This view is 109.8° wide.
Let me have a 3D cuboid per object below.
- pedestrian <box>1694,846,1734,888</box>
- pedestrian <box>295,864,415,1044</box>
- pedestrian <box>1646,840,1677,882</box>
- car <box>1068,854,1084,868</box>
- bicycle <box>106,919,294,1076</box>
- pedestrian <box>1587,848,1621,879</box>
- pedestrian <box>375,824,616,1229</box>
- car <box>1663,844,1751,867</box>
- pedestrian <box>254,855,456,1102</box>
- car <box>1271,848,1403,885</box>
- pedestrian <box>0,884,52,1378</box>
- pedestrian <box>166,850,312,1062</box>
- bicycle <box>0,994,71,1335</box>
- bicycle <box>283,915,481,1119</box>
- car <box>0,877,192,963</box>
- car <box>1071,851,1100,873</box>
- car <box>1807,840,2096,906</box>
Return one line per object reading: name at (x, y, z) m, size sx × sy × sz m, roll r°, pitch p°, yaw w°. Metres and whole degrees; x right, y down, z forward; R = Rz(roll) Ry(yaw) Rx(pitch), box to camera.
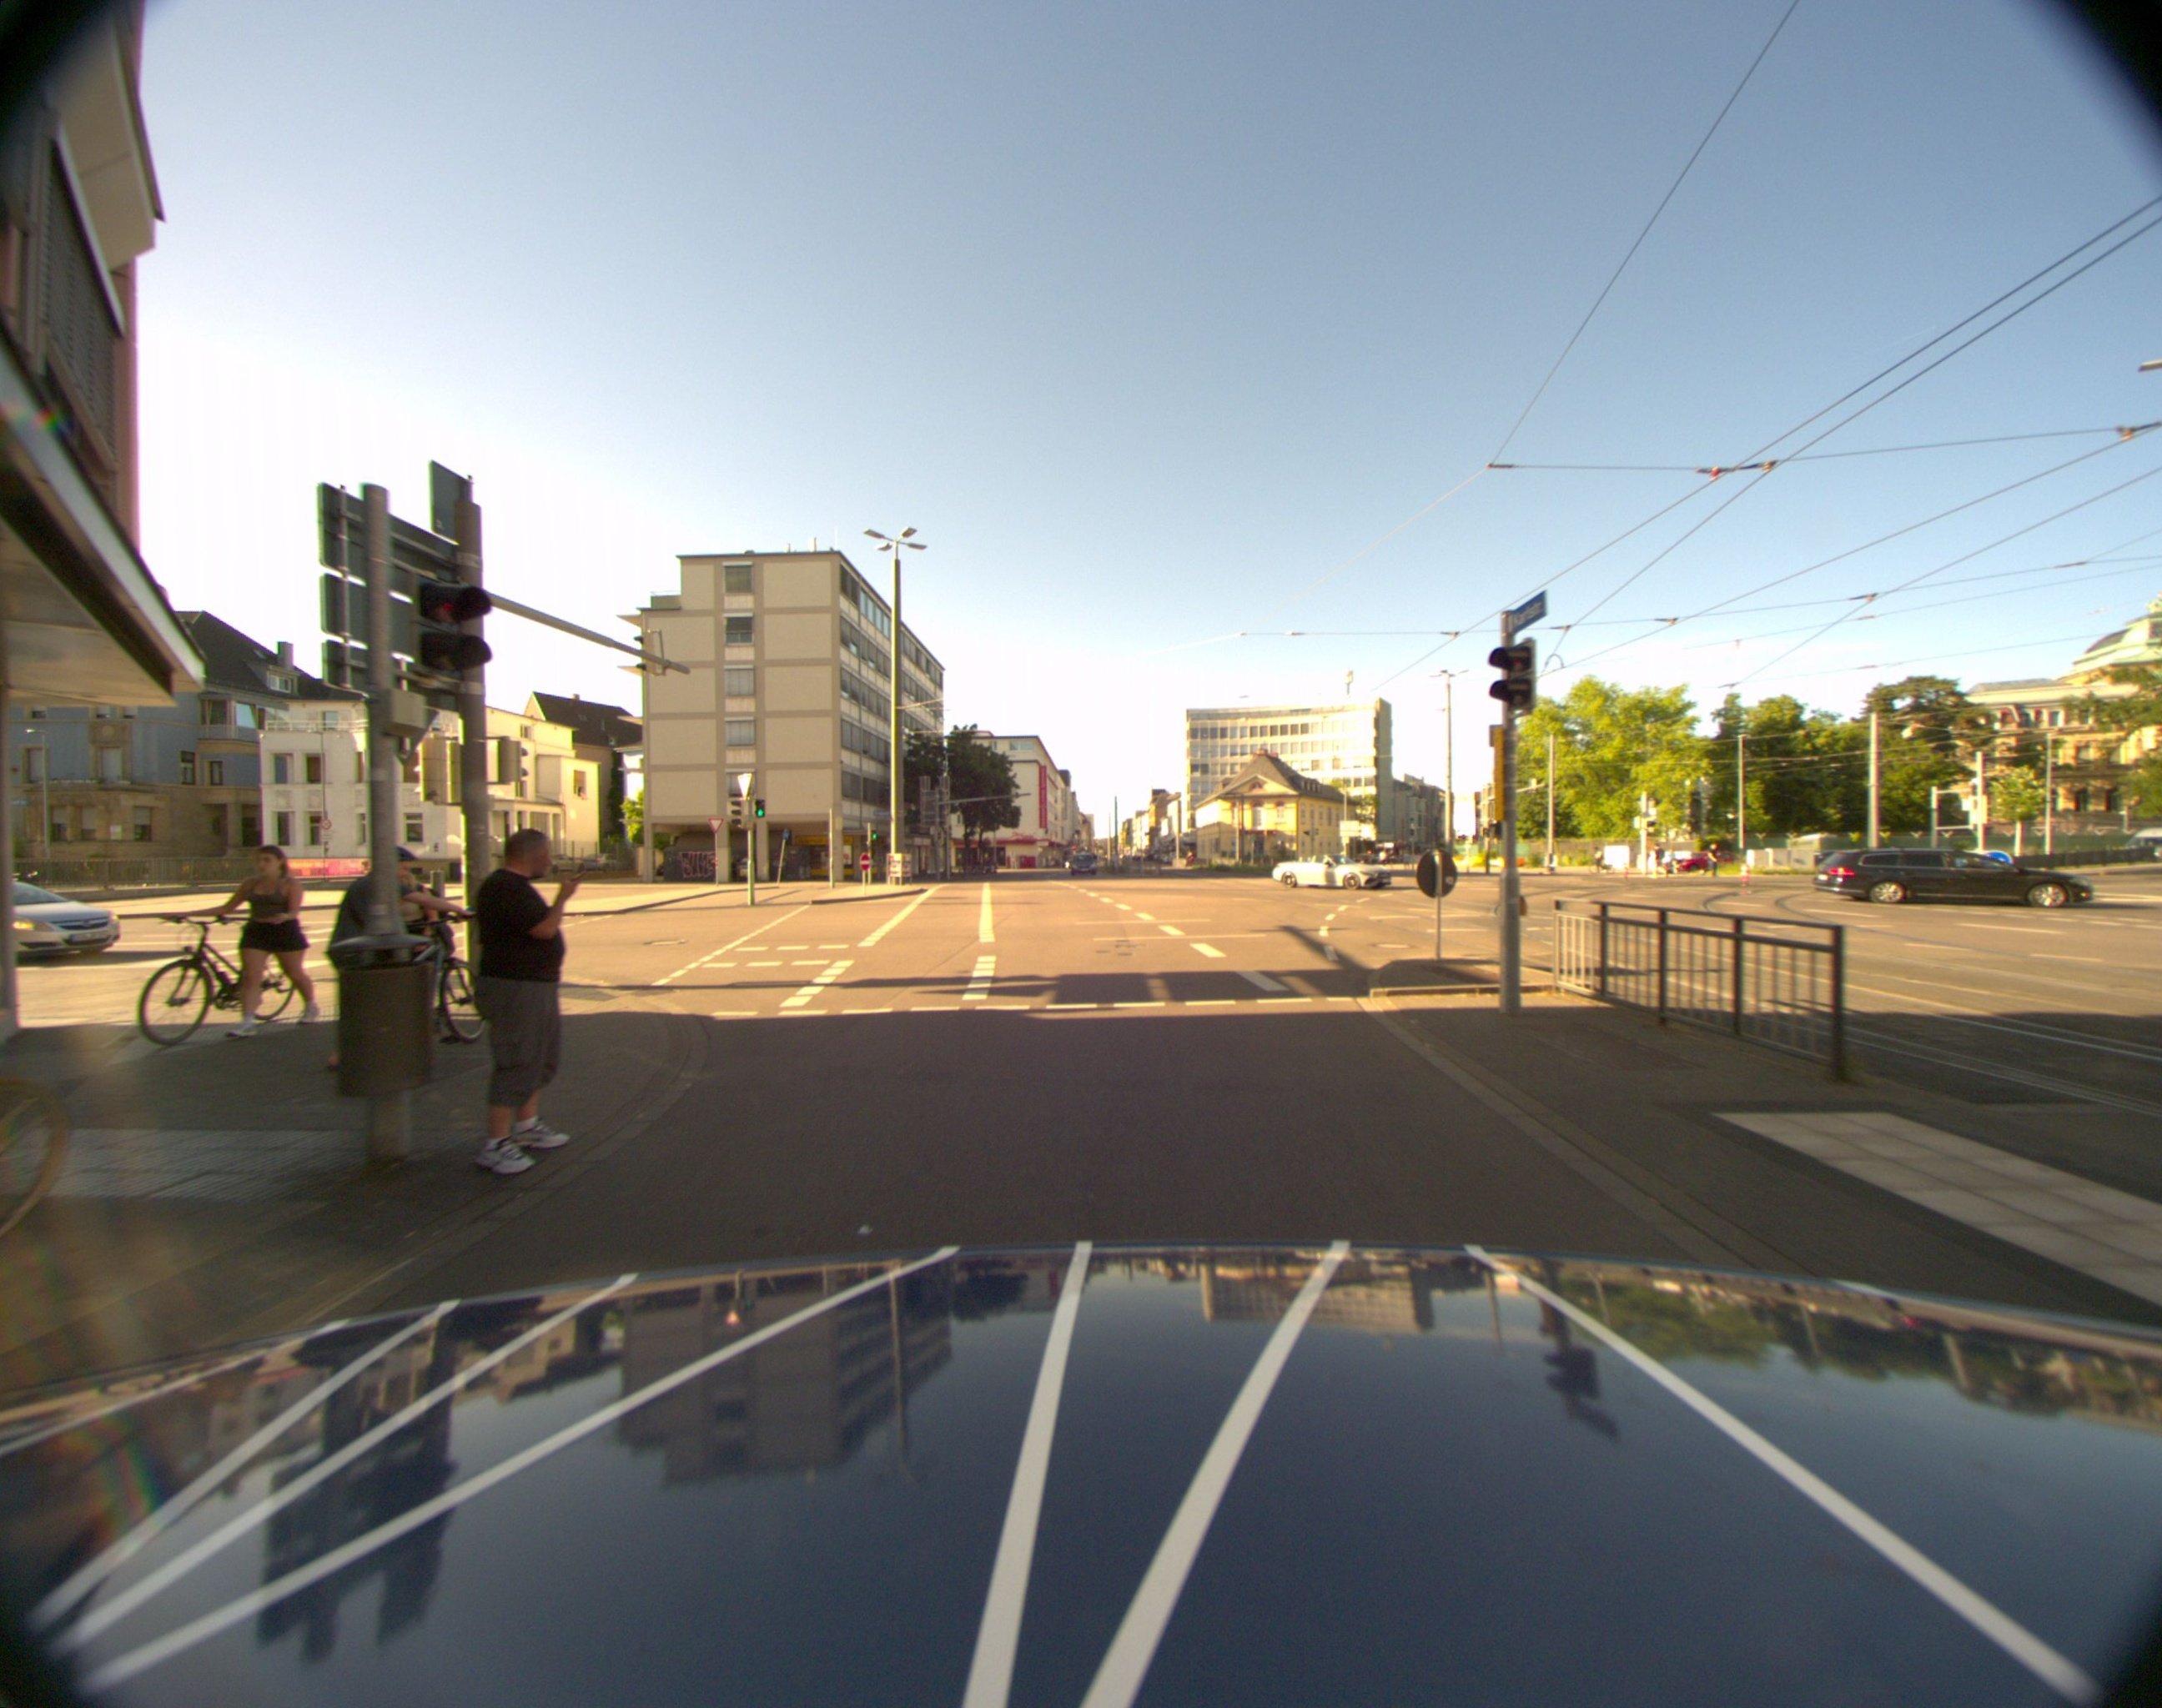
pedestrian at (31.276, 0.656, 37.547) m, size 1.442 × 2.002 × 1.181 m, roll -2°, pitch 1°, yaw 38°
pedestrian at (-6.997, 0.917, 7.365) m, size 0.670 × 1.613 × 0.648 m, roll -3°, pitch 1°, yaw -34°
pedestrian at (28.982, 0.340, 37.950) m, size 1.108 × 2.002 × 1.215 m, roll -2°, pitch 1°, yaw 32°
car at (-0.637, 0.810, 87.007) m, size 1.771 × 1.458 × 3.812 m, roll -1°, pitch 1°, yaw -1°
bicycle at (-7.801, 1.195, 6.828) m, size 0.686 × 1.059 × 1.782 m, roll -1°, pitch 1°, yaw -36°
pedestrian at (34.973, 0.614, 50.838) m, size 1.530 × 2.002 × 1.662 m, roll -2°, pitch 1°, yaw 22°
pedestrian at (-2.883, 0.786, 3.819) m, size 0.680 × 1.832 × 0.606 m, roll -2°, pitch 1°, yaw -11°
car at (39.664, 0.082, 48.180) m, size 4.124 × 1.351 × 1.930 m, roll -1°, pitch 1°, yaw -5°
pedestrian at (-5.487, 0.872, 5.819) m, size 0.829 × 1.701 × 0.784 m, roll -3°, pitch 1°, yaw -24°
car at (10.132, 0.463, 30.396) m, size 2.004 × 1.351 × 4.680 m, roll -1°, pitch 1°, yaw -36°
pedestrian at (-3.826, 0.915, 2.234) m, size 0.654 × 1.598 × 0.595 m, roll -2°, pitch 1°, yaw -12°
pedestrian at (-7.567, 0.867, 6.870) m, size 0.670 × 1.769 × 0.648 m, roll -3°, pitch 1°, yaw -34°
bicycle at (-4.024, 1.164, 2.059) m, size 0.430 × 1.206 × 1.822 m, roll -2°, pitch 1°, yaw -13°
bicycle at (-5.205, 1.121, 5.787) m, size 0.483 × 1.165 × 1.756 m, roll -3°, pitch 1°, yaw -22°
car at (-19.474, 1.181, 13.821) m, size 4.000 × 1.375 × 1.866 m, roll -1°, pitch 1°, yaw -9°
car at (0.300, 0.545, 56.251) m, size 1.999 × 1.496 × 3.998 m, roll -1°, pitch 1°, yaw -2°
car at (22.201, 0.441, 19.714) m, size 4.523 × 1.527 × 2.004 m, roll 0°, pitch 1°, yaw 30°
